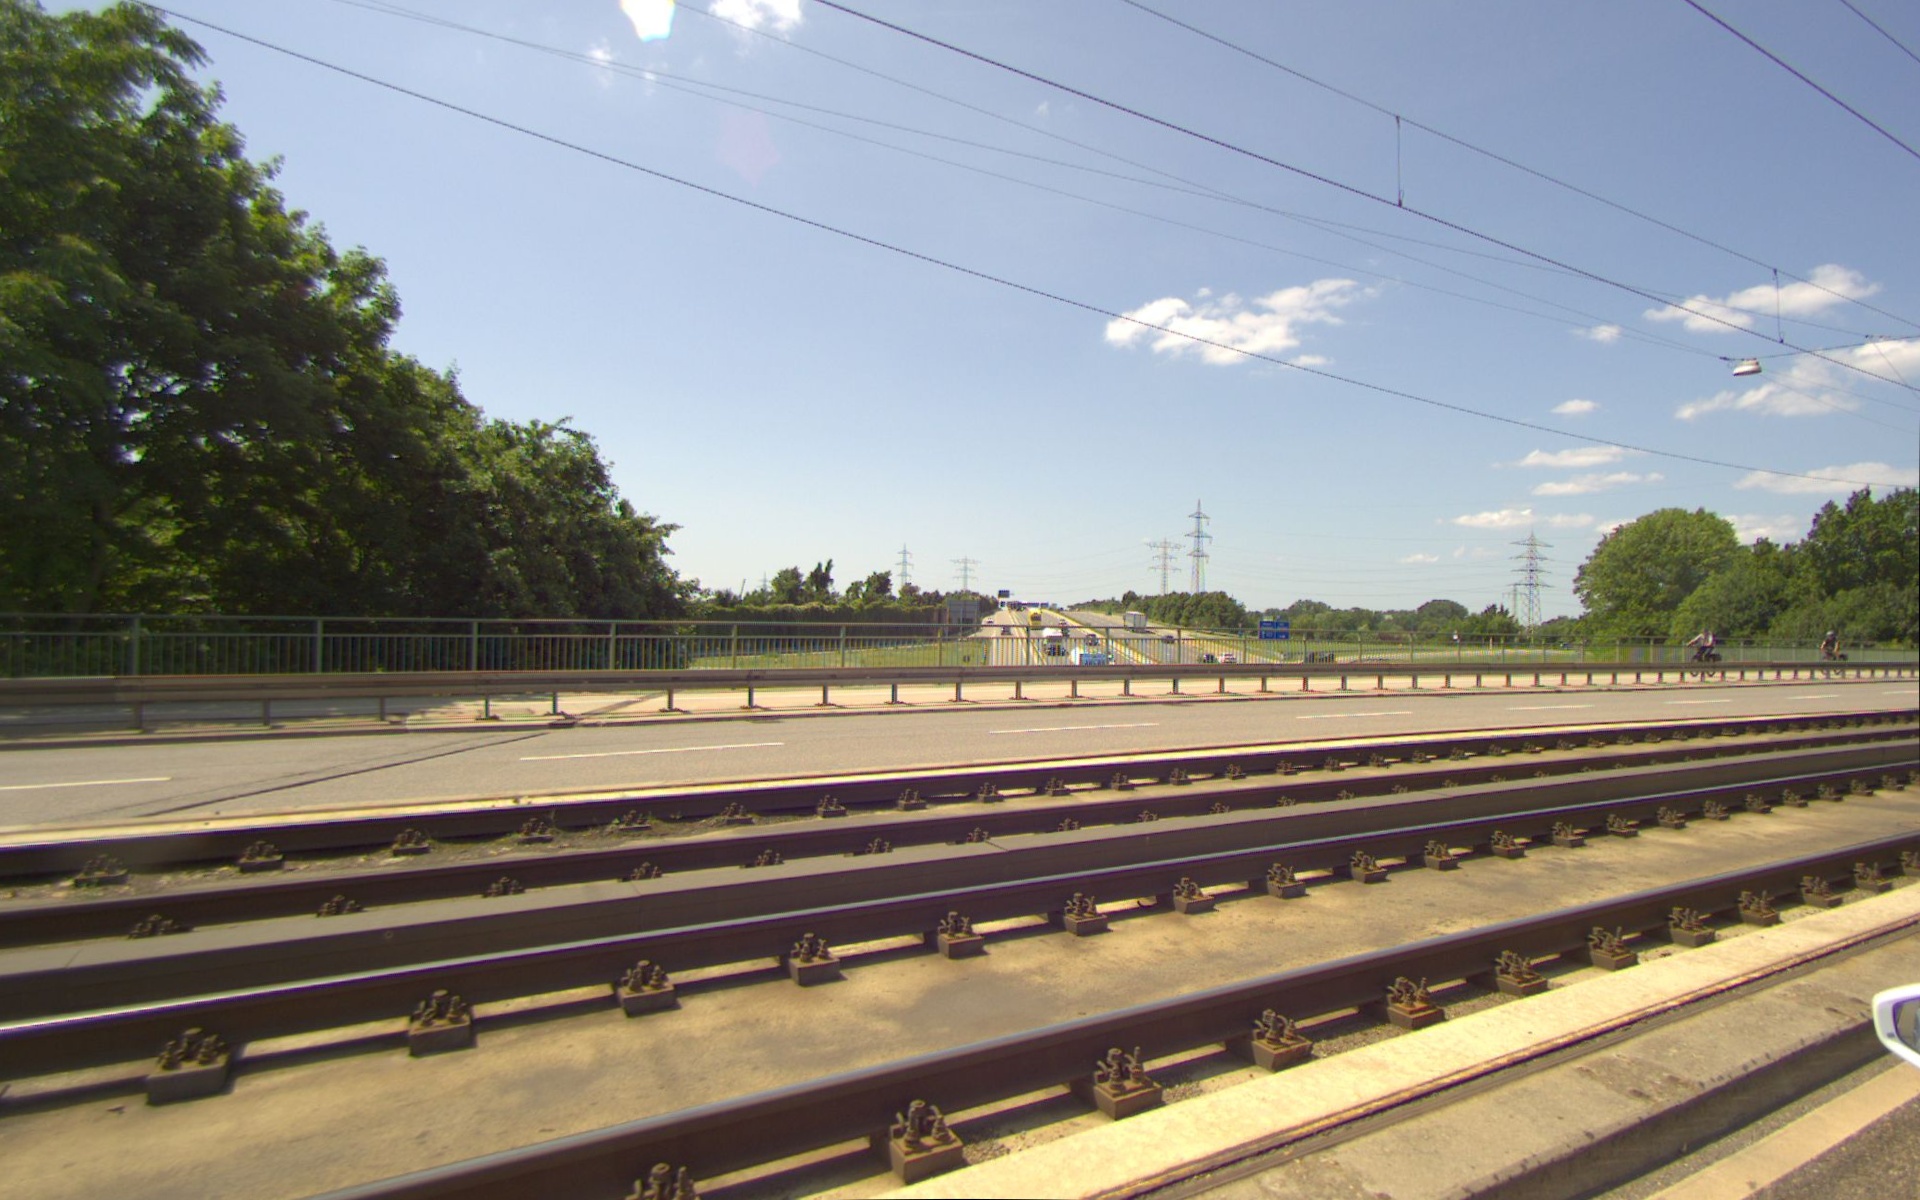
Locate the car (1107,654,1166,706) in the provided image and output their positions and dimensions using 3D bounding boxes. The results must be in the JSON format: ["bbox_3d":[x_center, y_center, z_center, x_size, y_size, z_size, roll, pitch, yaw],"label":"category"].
[{"bbox_3d":[21.404,9.592,123.471,4.919,4.547,22.467,2,0,5],"label":"car"}]

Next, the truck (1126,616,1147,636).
[{"bbox_3d":[37.776,5.491,214.958,3.590,3.756,8.202,2,2,4],"label":"truck"}]

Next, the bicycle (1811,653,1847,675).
[{"bbox_3d":[35.089,2.576,40.560,2.013,0.854,0.520,1,1,-32],"label":"bicycle"}]

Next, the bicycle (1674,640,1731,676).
[{"bbox_3d":[26.287,2.059,35.558,2.038,1.201,0.852,2,0,-30],"label":"bicycle"}]

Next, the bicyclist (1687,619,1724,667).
[{"bbox_3d":[26.415,1.525,35.610,0.828,1.643,0.759,2,0,-30],"label":"bicyclist"}]

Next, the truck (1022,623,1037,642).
[{"bbox_3d":[15.564,7.256,225.024,2.588,3.811,16.556,2,0,2],"label":"truck"}]

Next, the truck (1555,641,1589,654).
[{"bbox_3d":[99.636,7.700,163.517,4.721,1.792,1.946,2,2,33],"label":"truck"}]

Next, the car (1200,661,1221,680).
[{"bbox_3d":[30.558,8.623,122.687,1.705,1.664,4.000,4,4,4],"label":"car"}]

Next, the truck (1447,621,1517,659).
[{"bbox_3d":[92.297,6.992,177.817,10.616,5.714,3.289,4,4,29],"label":"truck"}]

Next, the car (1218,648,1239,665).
[{"bbox_3d":[34.975,7.339,131.006,1.706,1.665,3.999,2,3,1],"label":"car"}]

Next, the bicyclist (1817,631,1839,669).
[{"bbox_3d":[35.082,2.013,40.577,0.524,1.517,0.518,1,0,-32],"label":"bicyclist"}]

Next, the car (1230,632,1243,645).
[{"bbox_3d":[47.166,6.549,171.443,1.705,1.665,4.001,4,4,10],"label":"car"}]

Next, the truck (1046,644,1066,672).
[{"bbox_3d":[14.034,8.351,146.040,2.693,3.268,13.735,2,0,6],"label":"truck"}]

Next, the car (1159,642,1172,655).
[{"bbox_3d":[36.196,8.528,176.950,1.896,1.665,4.001,3,4,6],"label":"car"}]

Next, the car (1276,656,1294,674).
[{"bbox_3d":[46.412,9.288,143.417,1.832,2.041,4.001,4,3,11],"label":"car"}]

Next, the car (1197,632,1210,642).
[{"bbox_3d":[48.519,7.364,200.386,1.706,1.665,3.999,3,4,1],"label":"car"}]
